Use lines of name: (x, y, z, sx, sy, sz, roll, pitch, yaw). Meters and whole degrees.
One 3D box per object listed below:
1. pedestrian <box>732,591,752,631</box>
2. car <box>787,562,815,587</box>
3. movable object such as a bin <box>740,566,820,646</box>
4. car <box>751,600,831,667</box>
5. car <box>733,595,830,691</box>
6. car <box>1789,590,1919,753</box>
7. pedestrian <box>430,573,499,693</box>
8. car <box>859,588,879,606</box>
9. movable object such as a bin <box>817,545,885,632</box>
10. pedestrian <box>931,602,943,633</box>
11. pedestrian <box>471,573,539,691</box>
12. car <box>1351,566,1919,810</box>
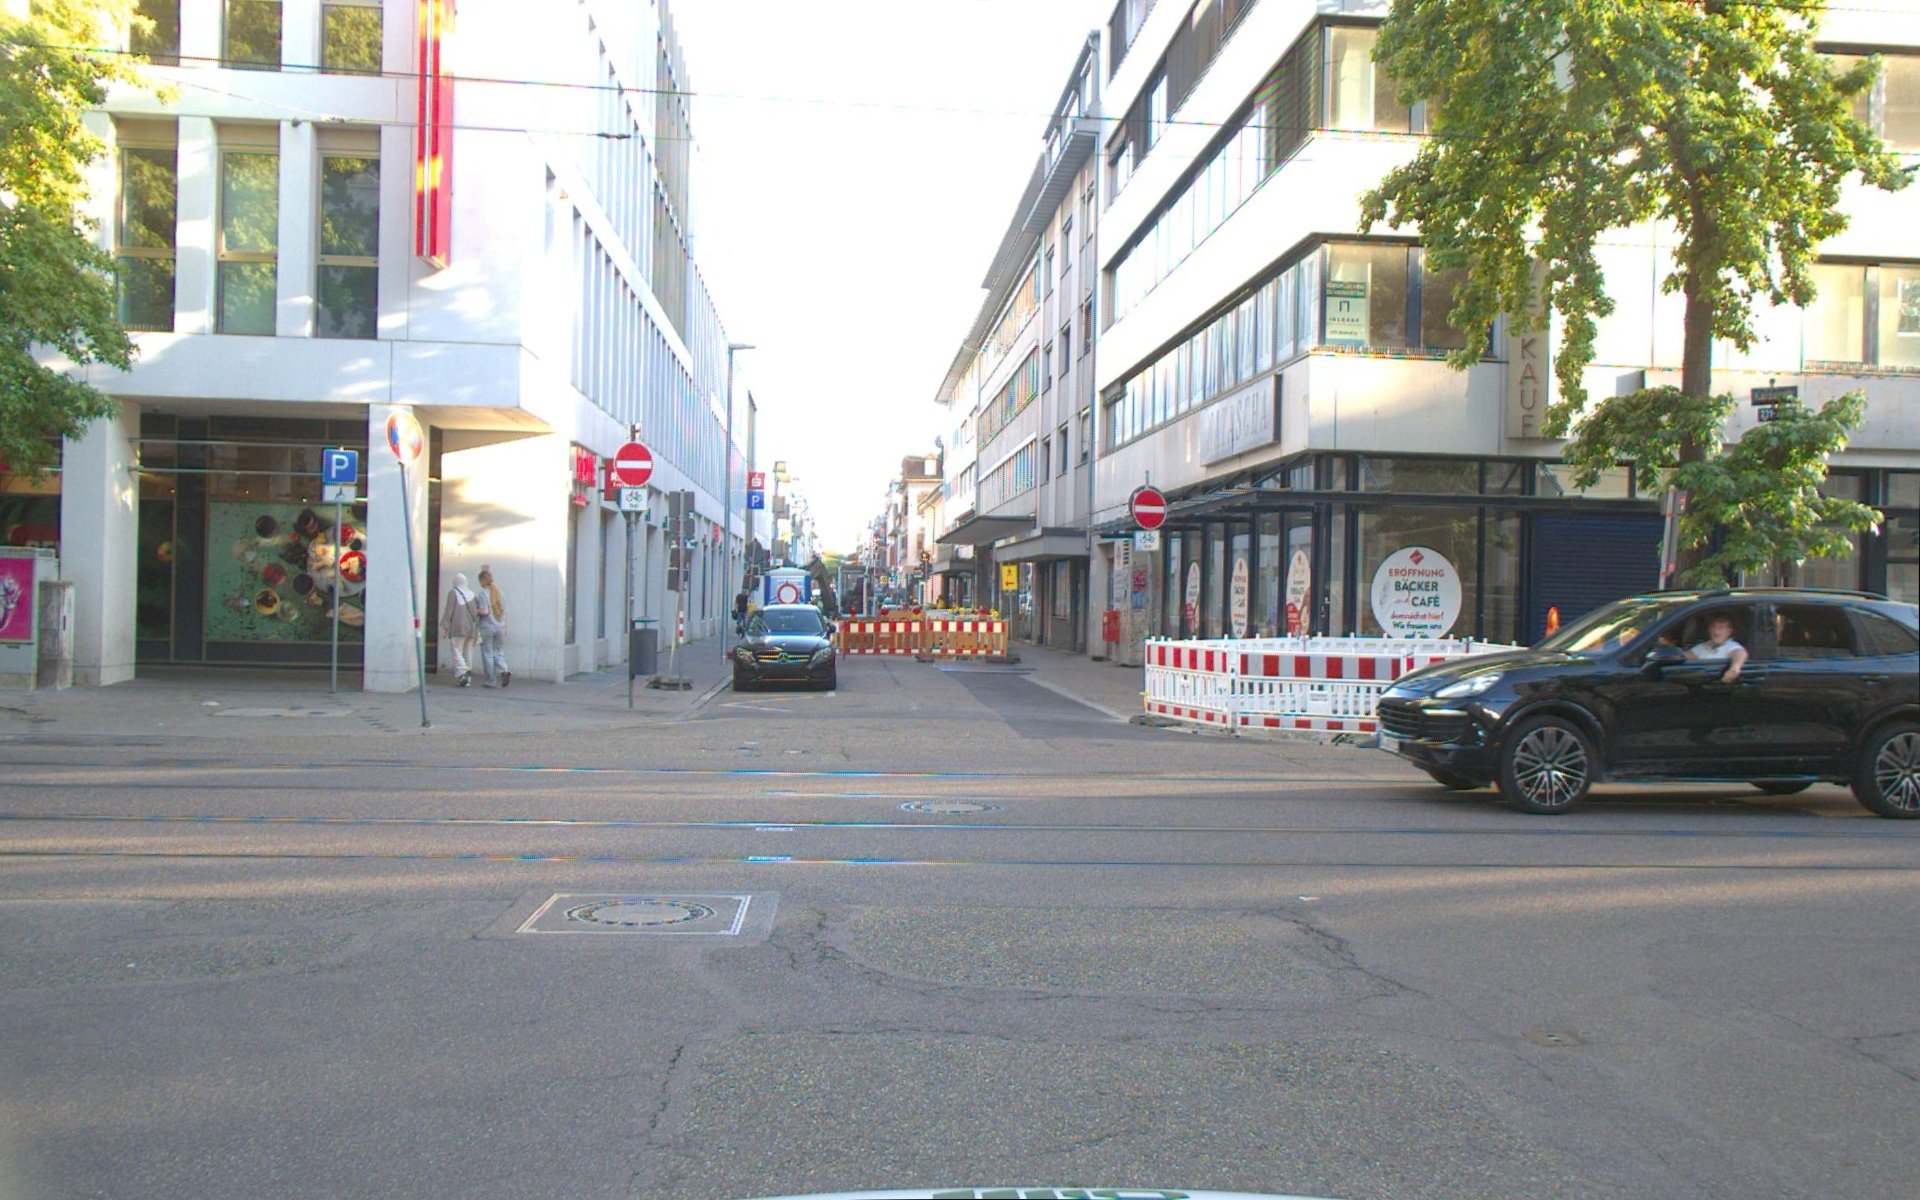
pedestrian: (-8.105, 0.413, 61.569, 0.701, 1.490, 0.525, 0, 0, -2)
car: (-11.855, -1.867, 123.518, 1.954, 1.807, 3.997, 0, 0, -4)
movable object such as a bin: (-4.776, 0.150, 44.381, 1.954, 2.049, 3.997, 0, 0, -4)
car: (-3.958, 0.745, 38.467, 1.756, 1.477, 3.137, 0, 0, -8)
car: (-3.180, 0.713, 29.181, 1.598, 1.577, 3.137, 0, 0, -8)
car: (13.103, 0.876, 20.331, 4.833, 1.806, 2.021, 1, 2, -5)
pedestrian: (-6.984, 0.447, 23.309, 0.607, 1.656, 0.858, 0, 0, -45)
car: (-9.297, -0.305, 168.362, 1.954, 1.807, 3.997, 0, 0, -4)
movable object such as a bin: (-3.613, -0.371, 54.428, 2.114, 2.710, 4.568, 1, 0, -5)
pedestrian: (-1.150, 0.850, 81.230, 0.513, 1.490, 0.718, 1, 0, 3)
pedestrian: (-6.541, 0.441, 23.765, 0.607, 1.656, 0.858, 0, 0, -45)
car: (5.868, 0.687, 13.443, 4.833, 1.756, 2.020, 1, 0, -5)
